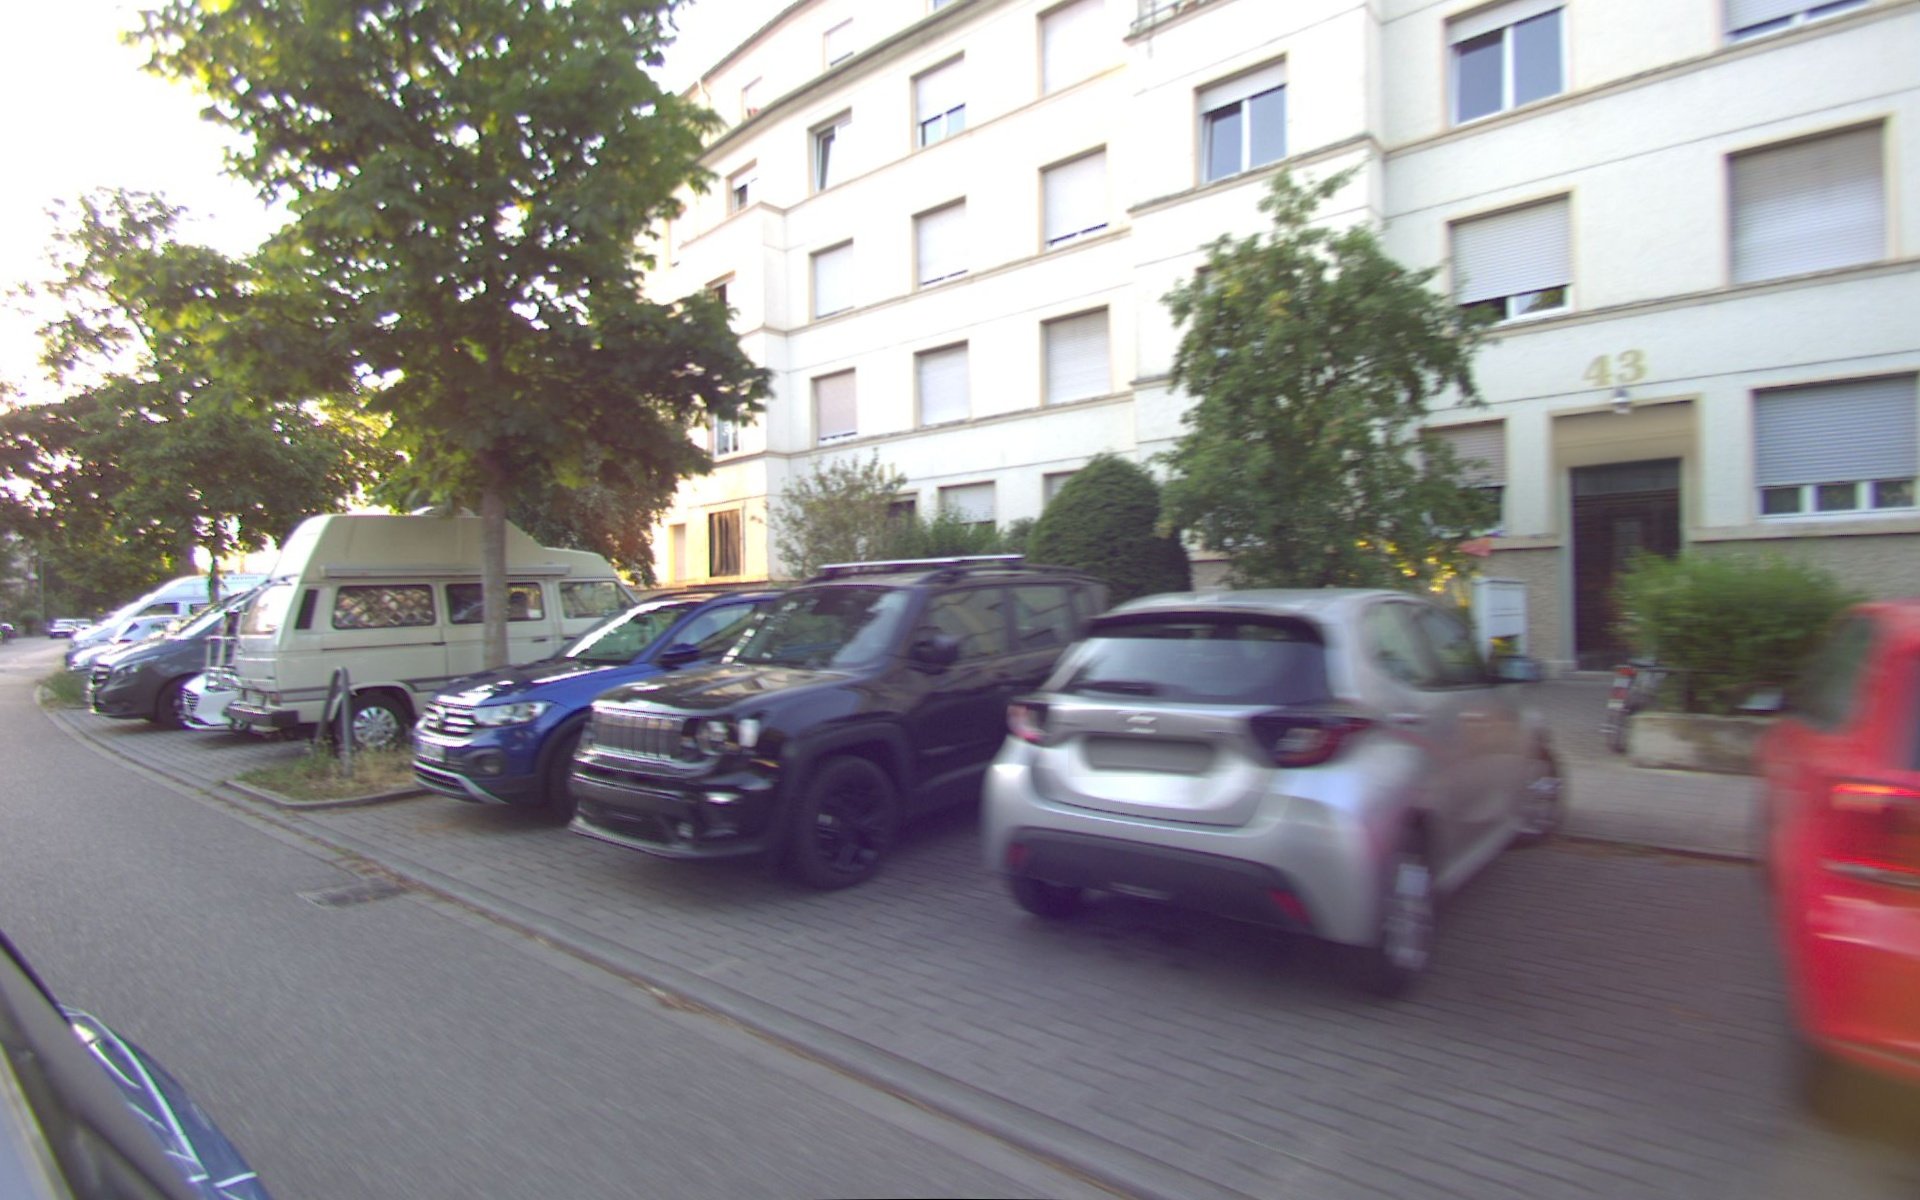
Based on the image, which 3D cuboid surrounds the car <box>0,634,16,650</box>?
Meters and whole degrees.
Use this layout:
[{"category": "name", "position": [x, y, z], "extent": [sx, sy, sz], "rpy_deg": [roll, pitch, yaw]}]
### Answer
[{"category": "car", "position": [-94.575, 4.146, 99.865], "extent": [1.773, 1.535, 4.007], "rpy_deg": [-1, 0, -40]}]

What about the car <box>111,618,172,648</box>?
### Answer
[{"category": "car", "position": [-76.627, 3.069, 94.799], "extent": [4.345, 2.576, 1.936], "rpy_deg": [-1, 0, -38]}]

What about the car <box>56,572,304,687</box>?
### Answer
[{"category": "car", "position": [-19.254, 0.645, 25.132], "extent": [4.676, 2.589, 2.002], "rpy_deg": [-1, 0, -44]}]

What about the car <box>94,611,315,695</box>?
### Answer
[{"category": "car", "position": [-16.862, 1.119, 22.697], "extent": [3.760, 1.534, 1.654], "rpy_deg": [-4, 1, -44]}]

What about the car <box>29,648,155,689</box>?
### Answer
[{"category": "car", "position": [-39.737, 3.121, 46.486], "extent": [4.272, 1.416, 1.855], "rpy_deg": [-4, 1, -39]}]

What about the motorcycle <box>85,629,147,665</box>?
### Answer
[{"category": "motorcycle", "position": [-36.000, 2.001, 43.185], "extent": [0.722, 1.447, 1.963], "rpy_deg": [-2, -1, 45]}]

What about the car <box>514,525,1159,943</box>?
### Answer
[{"category": "car", "position": [-0.505, 0.569, 6.413], "extent": [1.841, 1.790, 3.822], "rpy_deg": [-2, 0, 39]}]

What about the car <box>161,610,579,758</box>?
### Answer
[{"category": "car", "position": [-7.243, 0.914, 12.715], "extent": [2.000, 1.436, 4.130], "rpy_deg": [-2, 0, 42]}]

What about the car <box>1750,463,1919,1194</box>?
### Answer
[{"category": "car", "position": [3.832, 0.453, 3.363], "extent": [1.728, 1.595, 3.951], "rpy_deg": [-2, 0, 36]}]

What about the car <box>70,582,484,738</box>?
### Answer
[{"category": "car", "position": [-9.699, 0.720, 14.687], "extent": [2.000, 1.888, 4.623], "rpy_deg": [-2, 0, 42]}]

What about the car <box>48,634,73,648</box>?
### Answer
[{"category": "car", "position": [-90.969, 4.128, 102.370], "extent": [1.707, 1.386, 3.769], "rpy_deg": [-1, 0, -40]}]

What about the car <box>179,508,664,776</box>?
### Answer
[{"category": "car", "position": [-5.924, 0.370, 11.561], "extent": [2.000, 2.449, 4.454], "rpy_deg": [-2, 0, 42]}]

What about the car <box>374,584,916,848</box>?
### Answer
[{"category": "car", "position": [-2.368, 0.712, 8.253], "extent": [1.786, 1.607, 3.818], "rpy_deg": [-2, 0, 43]}]

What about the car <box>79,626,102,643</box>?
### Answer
[{"category": "car", "position": [-106.204, 4.177, 123.632], "extent": [1.969, 2.029, 4.007], "rpy_deg": [-1, 0, -40]}]

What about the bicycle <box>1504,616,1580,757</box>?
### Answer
[{"category": "bicycle", "position": [5.004, 0.691, 8.663], "extent": [0.468, 1.058, 1.565], "rpy_deg": [-2, 0, 33]}]

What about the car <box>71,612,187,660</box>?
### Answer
[{"category": "car", "position": [-43.099, 1.860, 52.636], "extent": [4.454, 2.085, 2.004], "rpy_deg": [-5, 0, -37]}]

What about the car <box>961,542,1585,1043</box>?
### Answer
[{"category": "car", "position": [1.928, 0.584, 5.231], "extent": [1.787, 1.536, 3.949], "rpy_deg": [-2, 0, 38]}]

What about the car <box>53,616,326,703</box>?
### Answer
[{"category": "car", "position": [-15.346, 1.112, 20.299], "extent": [4.193, 1.404, 1.686], "rpy_deg": [-2, 0, -42]}]

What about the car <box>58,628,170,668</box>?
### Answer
[{"category": "car", "position": [-37.029, 2.070, 44.408], "extent": [3.666, 1.517, 1.693], "rpy_deg": [-1, 0, -38]}]

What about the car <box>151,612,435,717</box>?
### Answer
[{"category": "car", "position": [-11.181, 1.003, 17.131], "extent": [1.656, 1.450, 3.727], "rpy_deg": [-2, 0, 43]}]

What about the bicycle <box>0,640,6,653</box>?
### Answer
[{"category": "bicycle", "position": [-79.452, 3.819, 83.945], "extent": [0.352, 1.031, 1.975], "rpy_deg": [-1, -1, -40]}]
